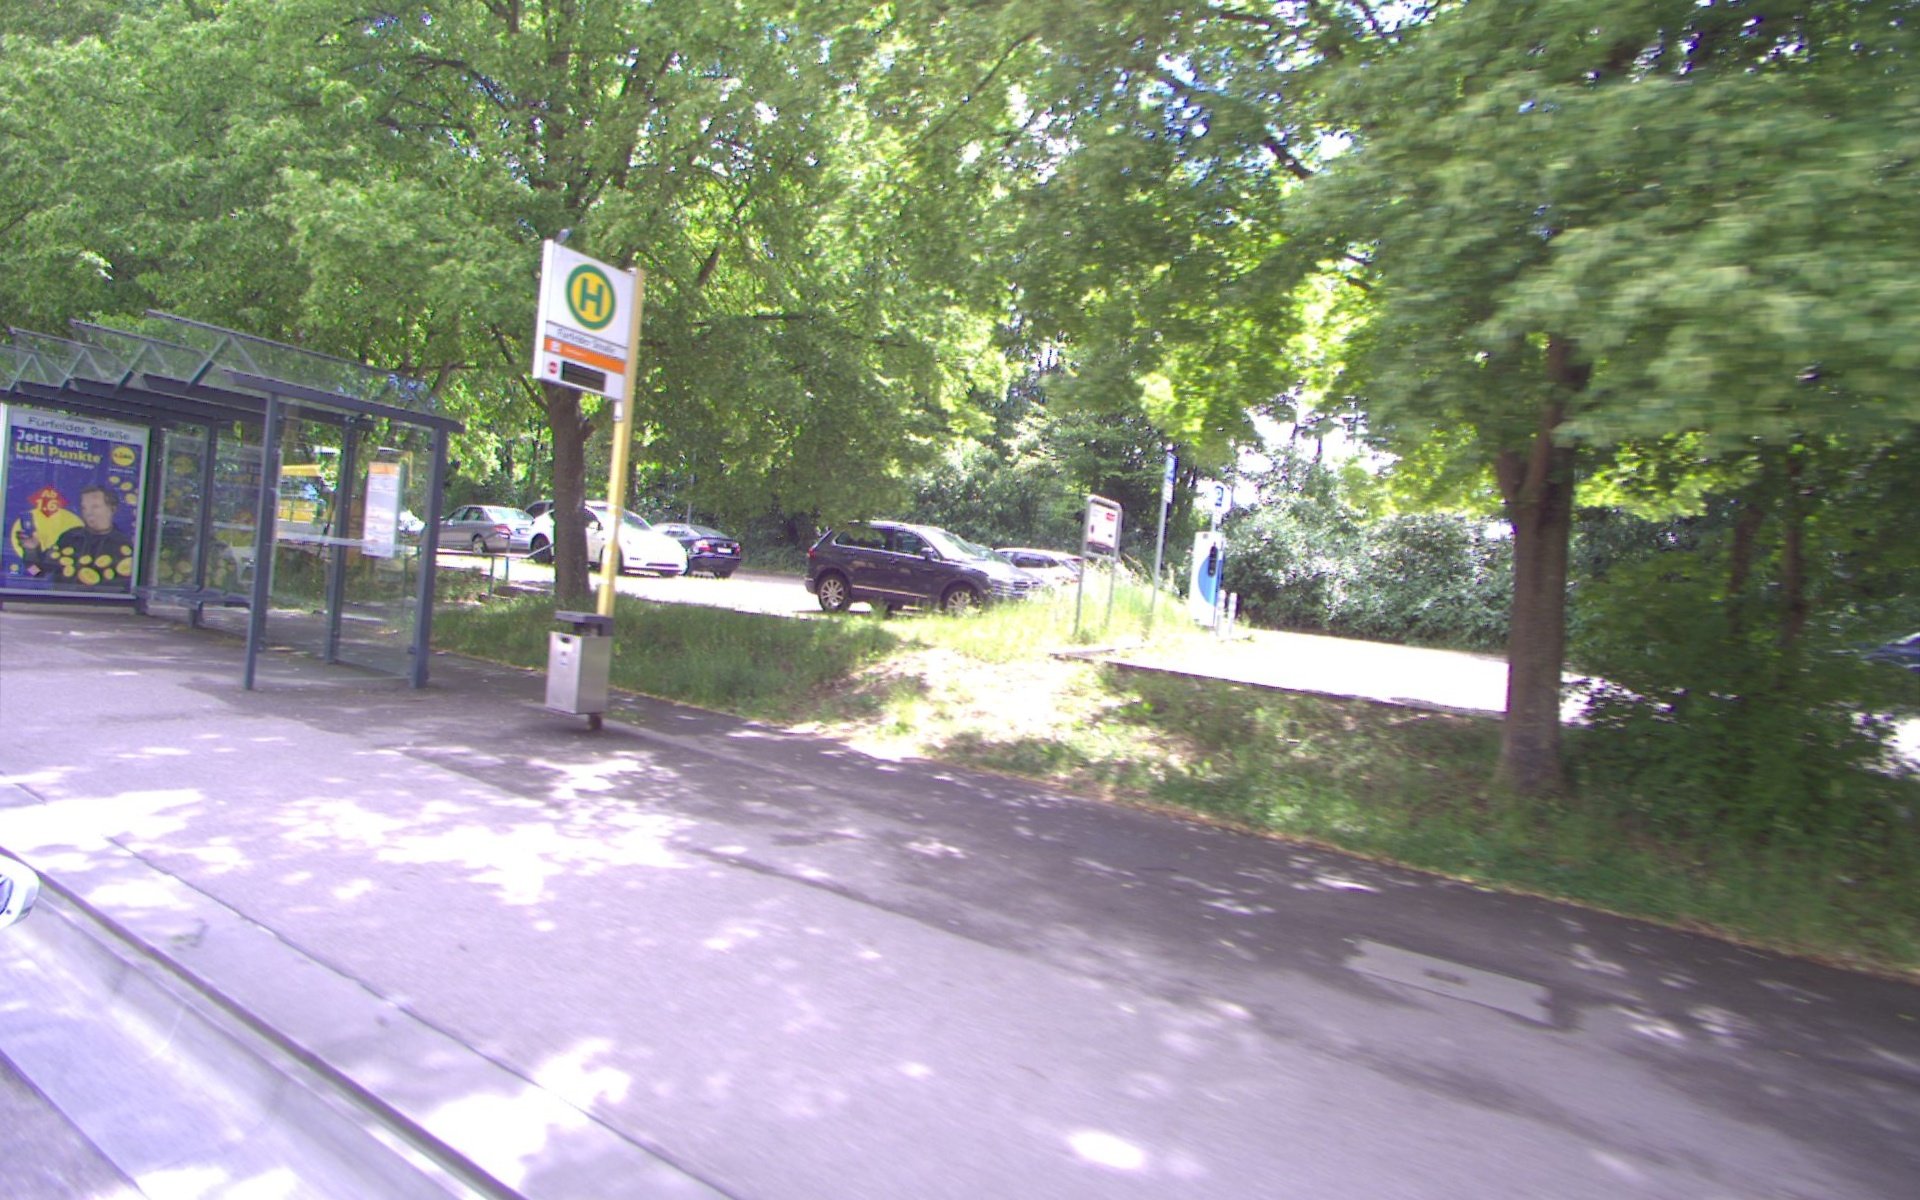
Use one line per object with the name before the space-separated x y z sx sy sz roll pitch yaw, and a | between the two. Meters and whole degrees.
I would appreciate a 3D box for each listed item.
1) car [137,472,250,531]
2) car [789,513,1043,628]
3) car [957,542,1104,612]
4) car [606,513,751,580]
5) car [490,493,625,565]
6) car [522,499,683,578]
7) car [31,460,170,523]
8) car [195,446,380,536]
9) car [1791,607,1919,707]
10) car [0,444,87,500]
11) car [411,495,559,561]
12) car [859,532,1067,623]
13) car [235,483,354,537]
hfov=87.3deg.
car | -23.887 -3.076 31.336 3.563 1.529 1.691 7 4 33
car | -0.832 -0.564 17.808 4.191 1.718 1.687 5 3 31
car | 1.520 -0.517 21.937 2.812 1.321 1.407 5 3 31
car | -7.881 -1.500 28.080 3.936 1.472 1.682 7 2 34
car | -12.184 -2.168 30.384 4.138 1.815 1.612 7 4 32
car | -9.030 -1.565 25.285 4.360 1.577 1.468 8 5 34
car | -25.111 -3.173 29.387 3.750 1.432 1.611 7 2 25
car | -16.203 -2.640 24.170 4.646 1.682 1.848 7 0 32
car | 18.383 1.220 18.746 4.031 1.645 2.061 7 1 30
car | -29.910 -4.127 32.215 3.923 1.483 1.797 6 2 31
car | -13.190 -2.000 27.838 4.281 1.462 1.612 7 3 32
car | 0.035 -0.475 19.961 3.731 1.513 1.687 5 3 31
car | -22.534 -3.050 34.036 4.056 1.439 1.840 7 3 32
